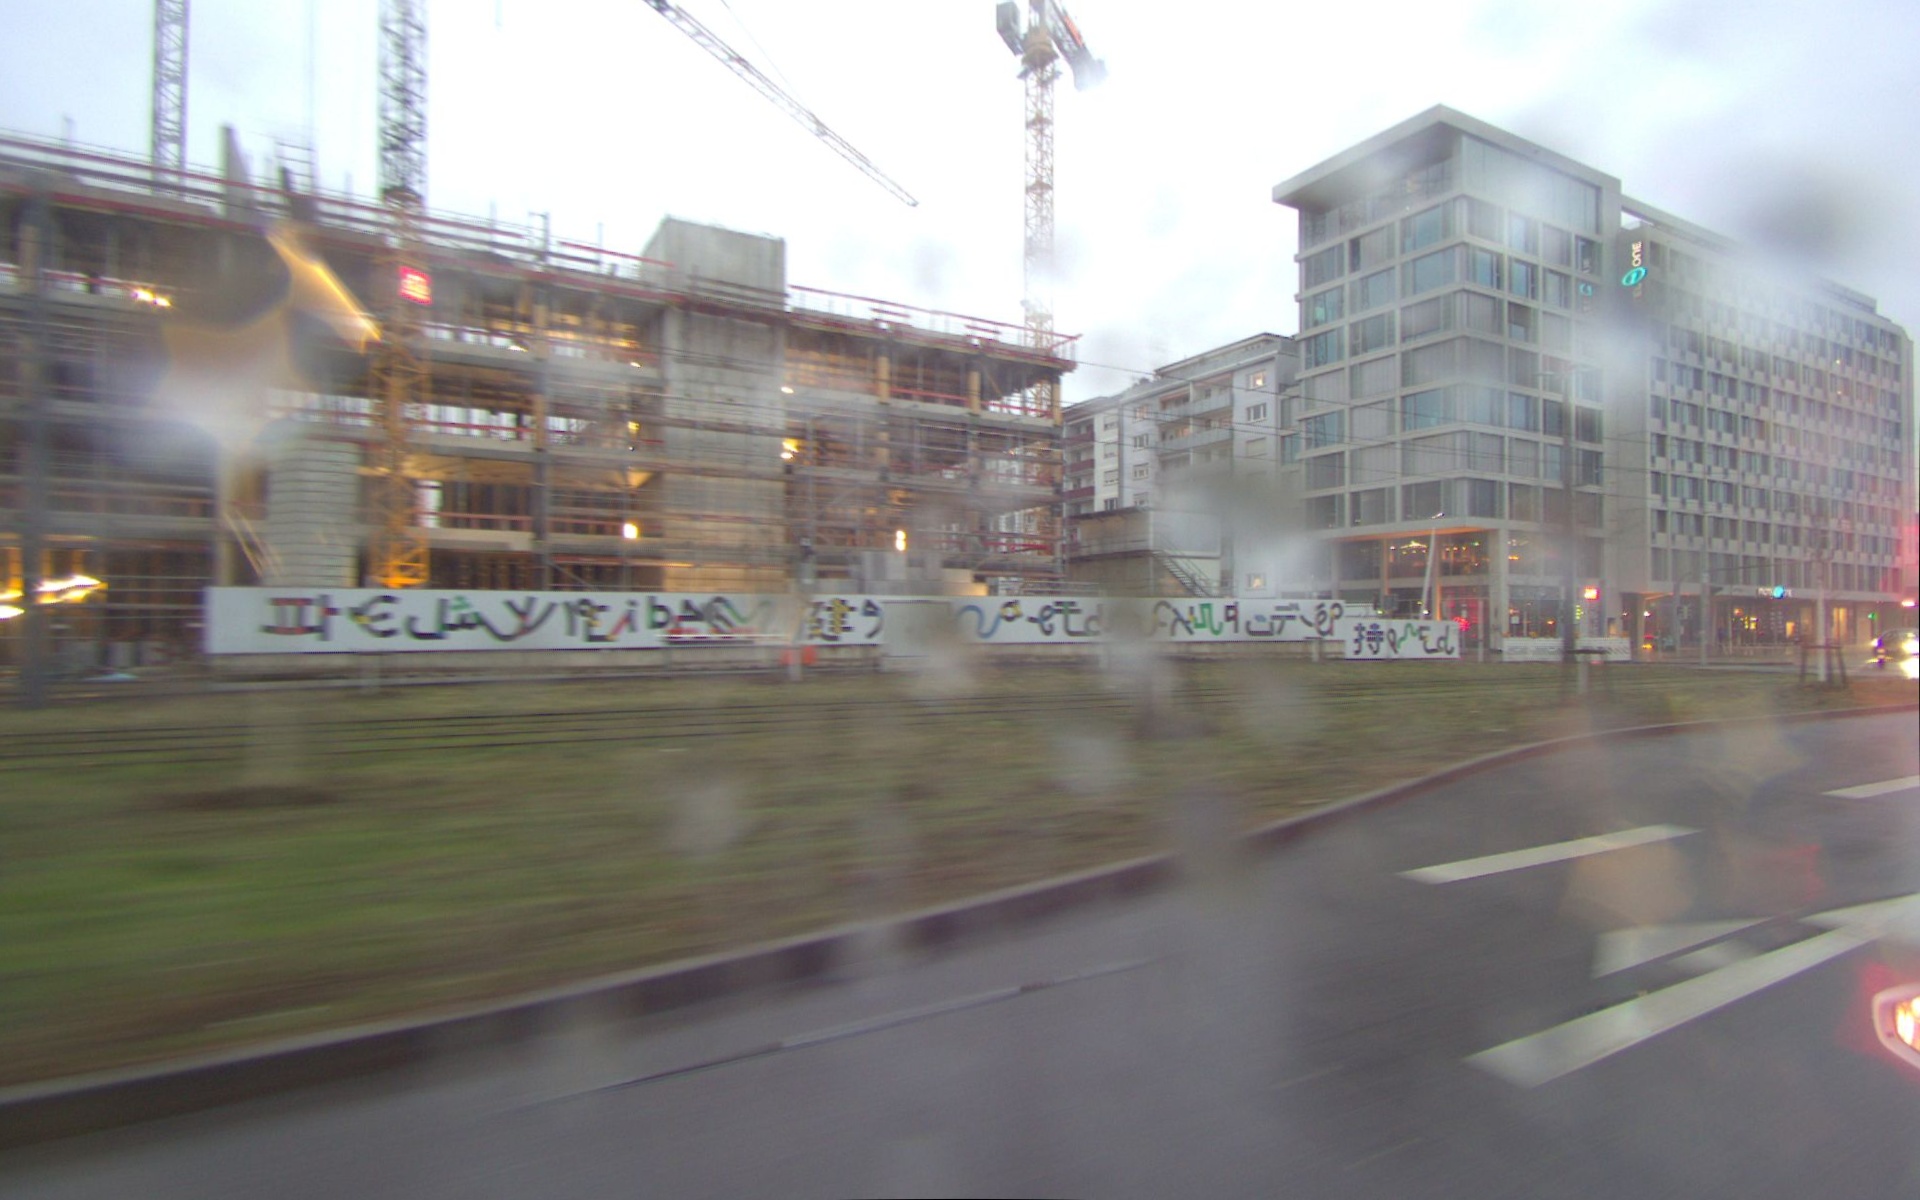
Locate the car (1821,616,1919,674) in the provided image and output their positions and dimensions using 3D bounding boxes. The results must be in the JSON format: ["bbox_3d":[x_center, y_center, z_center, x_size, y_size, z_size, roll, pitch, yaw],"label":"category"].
[{"bbox_3d":[33.750,1.610,36.314,3.942,2.001,1.990,0,-1,42],"label":"car"}]

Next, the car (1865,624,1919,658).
[{"bbox_3d":[43.809,1.867,46.206,1.709,1.512,3.545,1,-1,13],"label":"car"}]
